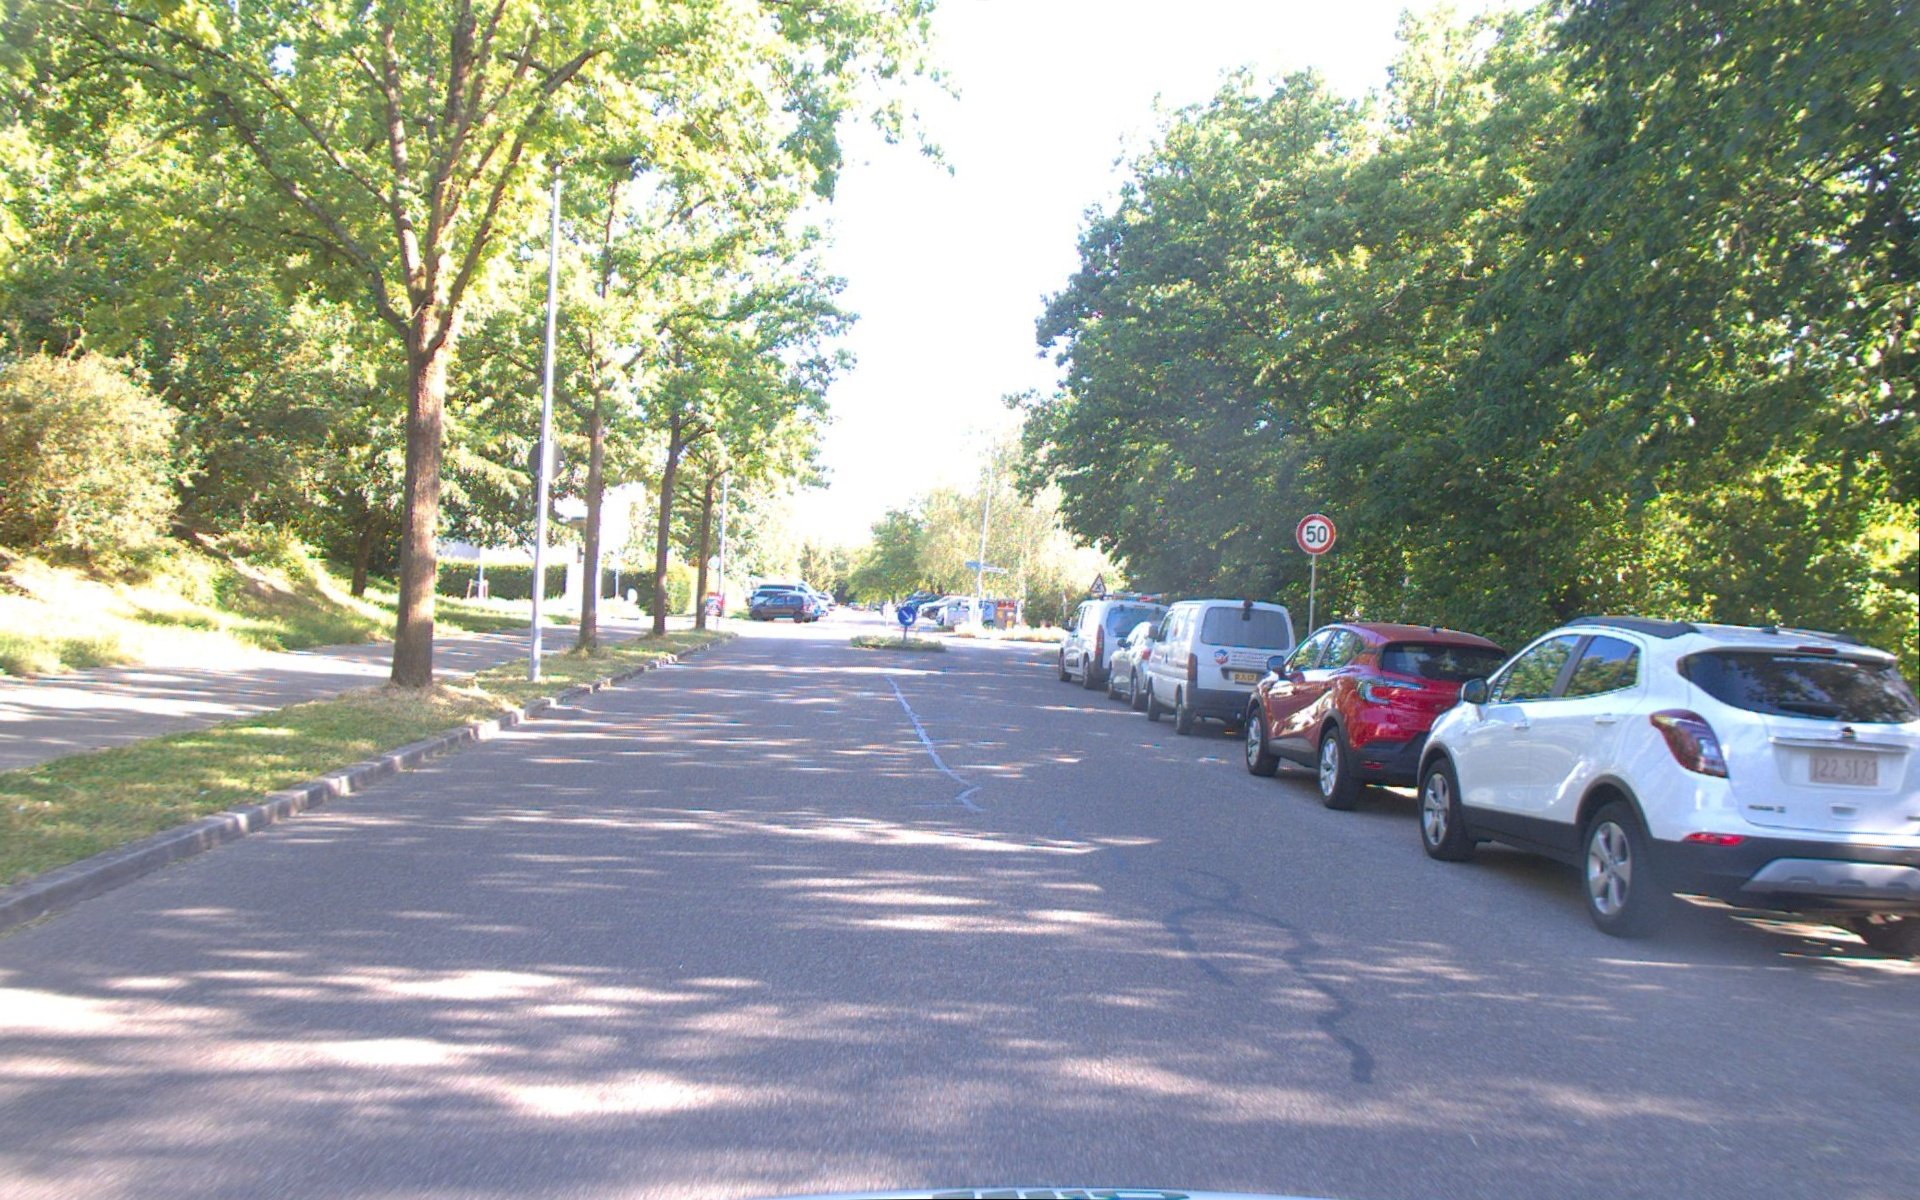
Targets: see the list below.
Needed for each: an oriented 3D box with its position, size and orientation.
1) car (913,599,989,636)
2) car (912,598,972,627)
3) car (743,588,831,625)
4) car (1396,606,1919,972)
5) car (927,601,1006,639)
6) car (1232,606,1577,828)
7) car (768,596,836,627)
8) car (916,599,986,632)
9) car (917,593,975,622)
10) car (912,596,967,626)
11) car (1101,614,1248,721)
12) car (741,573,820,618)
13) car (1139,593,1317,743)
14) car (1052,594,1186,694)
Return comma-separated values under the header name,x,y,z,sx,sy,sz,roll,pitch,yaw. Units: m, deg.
name,x,y,z,sx,sy,sz,roll,pitch,yaw
car,-0.453,0.924,86.455,3.759,1.604,1.689,5,-1,3
car,-1.186,0.809,109.050,3.759,1.604,1.689,5,-1,3
car,-9.151,0.359,87.625,4.229,1.604,2.047,5,-1,3
car,4.211,0.937,9.936,1.741,1.649,4.060,4,0,-5
car,0.345,1.017,83.676,3.759,1.604,1.689,5,-1,3
car,3.918,0.953,15.327,1.741,1.649,4.060,4,0,-5
car,-9.907,0.716,103.901,4.024,1.604,1.958,5,-1,-2
car,-0.511,0.876,94.267,3.759,1.604,1.689,5,-1,3
car,-0.934,0.517,112.202,3.760,1.604,1.688,5,-1,1
car,-1.449,0.788,118.377,3.760,1.827,1.688,5,-1,1
car,3.575,1.084,28.258,1.658,1.538,4.203,4,0,-3
car,-12.267,-0.288,112.719,5.103,2.666,2.289,5,-1,-8
car,3.640,0.877,23.077,1.591,1.804,3.666,4,0,-3
car,3.220,0.848,34.392,1.757,1.816,4.550,4,0,-6
